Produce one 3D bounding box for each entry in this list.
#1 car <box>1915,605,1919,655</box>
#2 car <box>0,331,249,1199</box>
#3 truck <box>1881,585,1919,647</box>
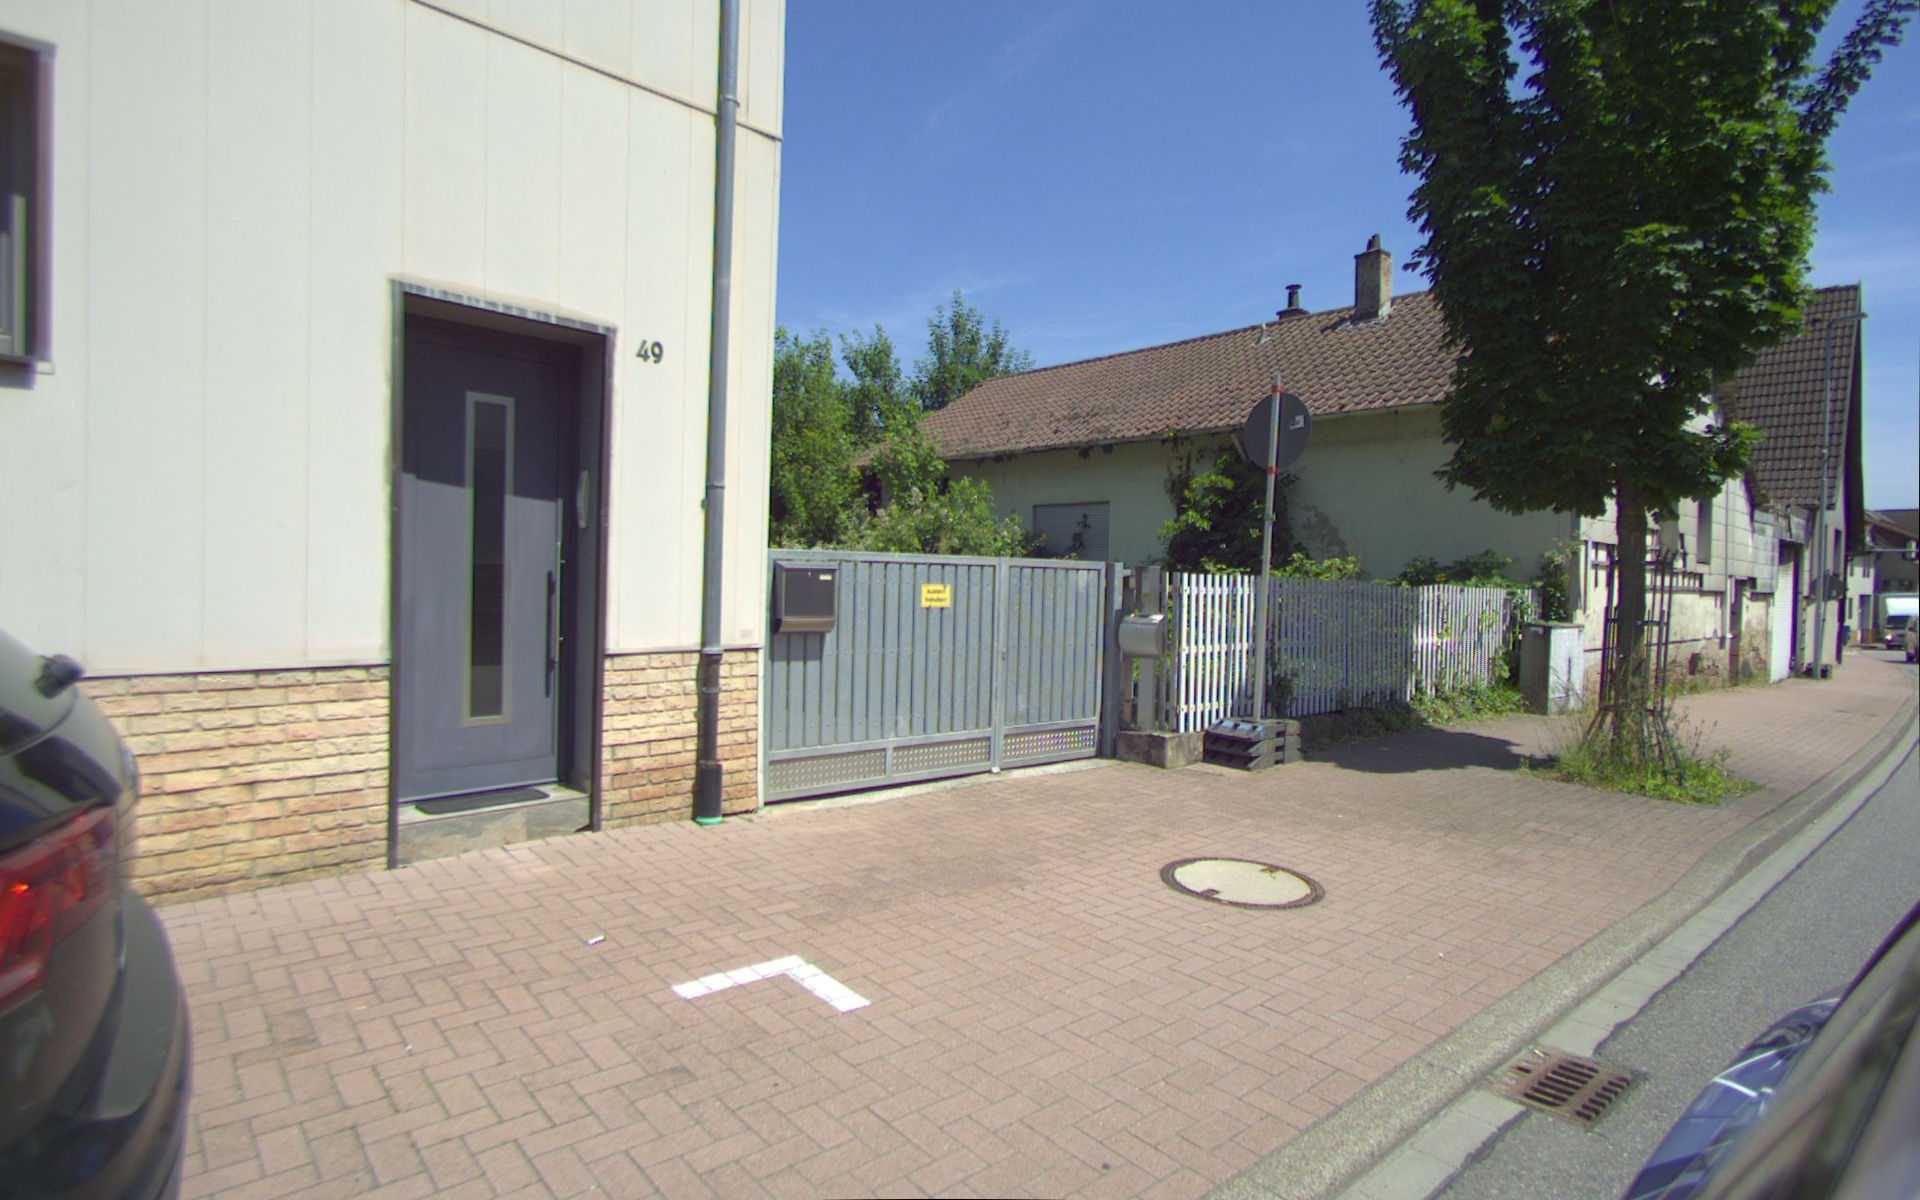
[{"bbox_3d":[39.341,1.246,39.905,2.071,1.985,5.439,1,1,40],"label":"car"},{"bbox_3d":[-3.083,0.479,0.349,4.469,1.633,1.806,1,3,-42],"label":"car"},{"bbox_3d":[59.370,0.940,62.448,8.177,3.555,2.865,0,3,-42],"label":"truck"}]
